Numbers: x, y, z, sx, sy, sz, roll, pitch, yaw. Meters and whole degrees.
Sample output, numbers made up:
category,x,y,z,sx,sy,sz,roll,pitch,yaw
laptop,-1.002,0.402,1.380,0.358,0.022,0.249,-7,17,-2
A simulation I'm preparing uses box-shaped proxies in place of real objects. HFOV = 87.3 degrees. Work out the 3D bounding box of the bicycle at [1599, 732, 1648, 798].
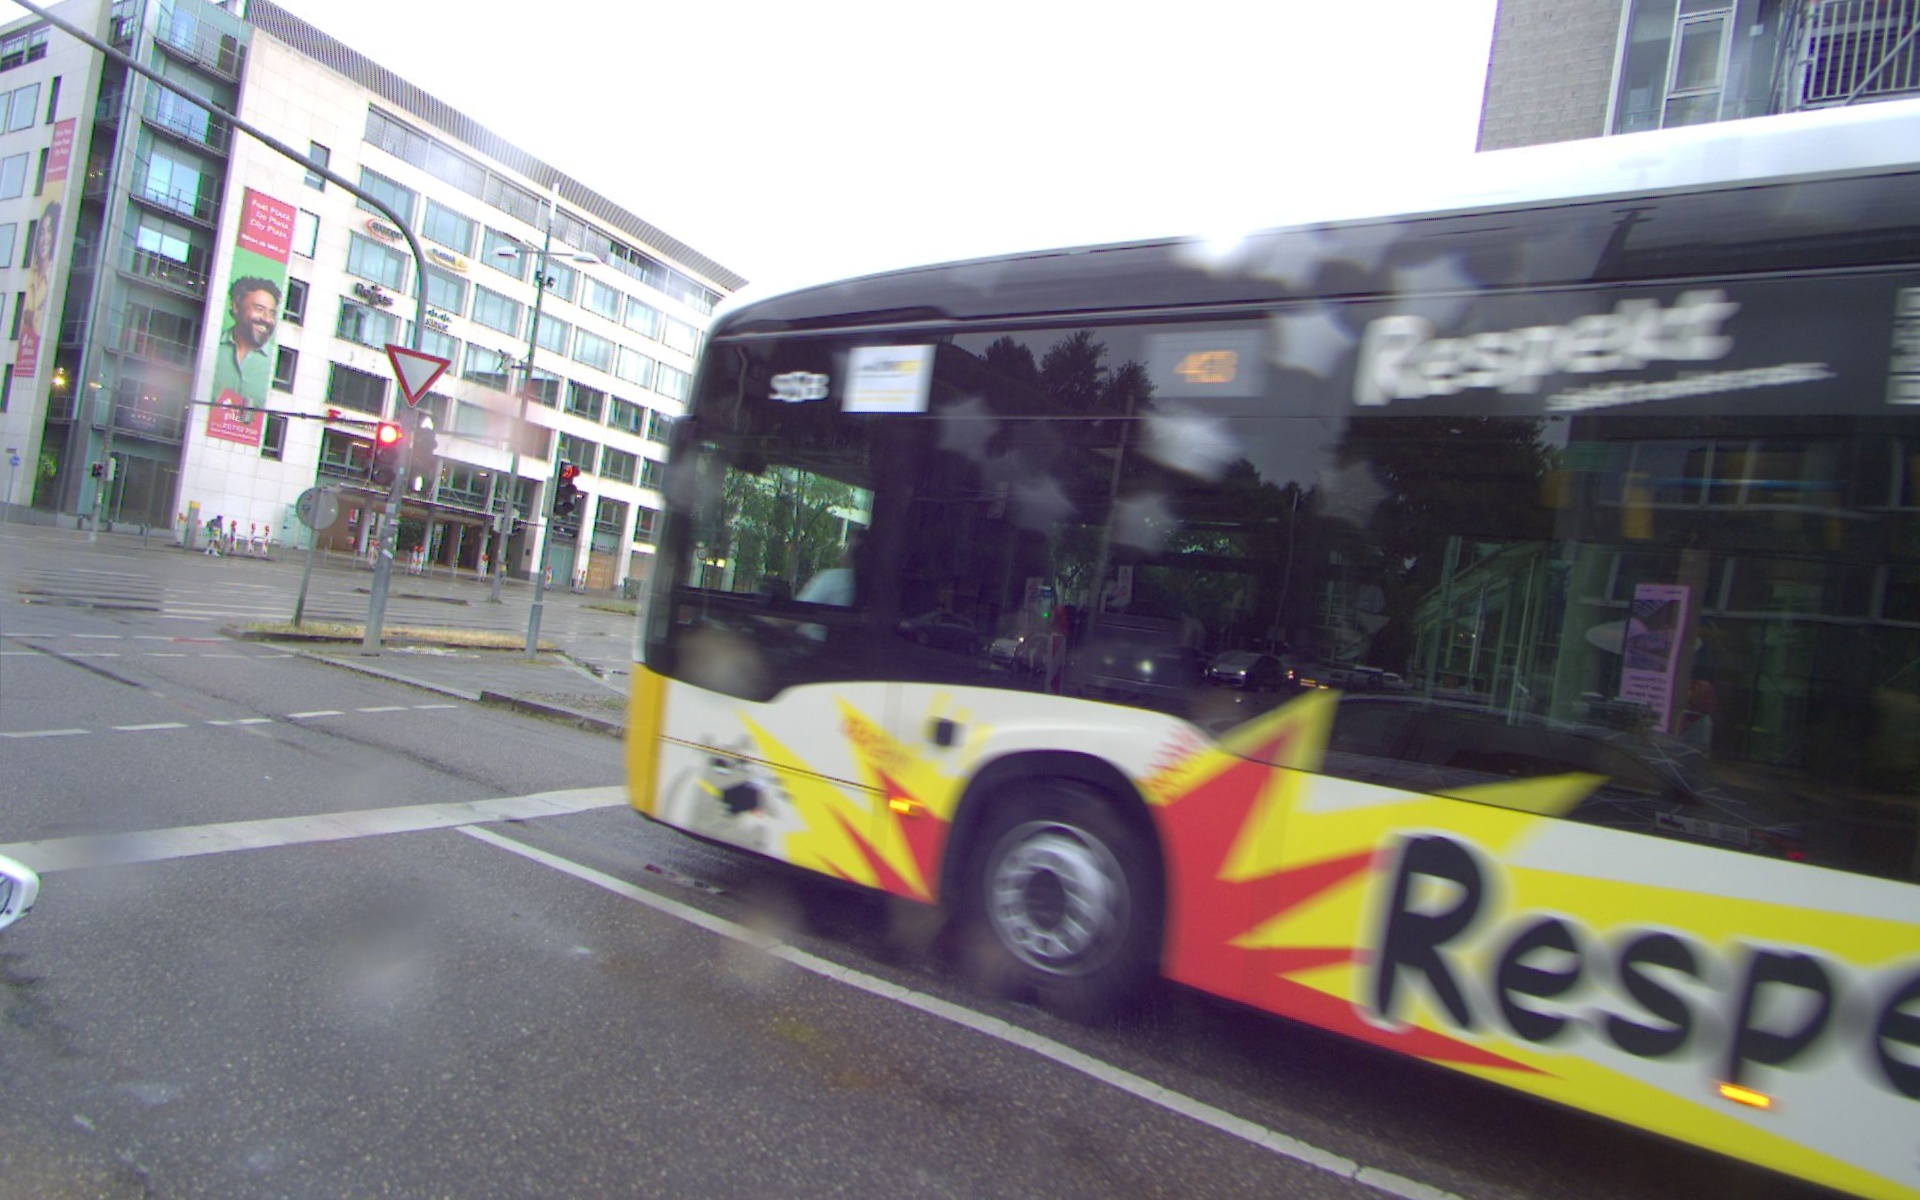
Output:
category,x,y,z,sx,sy,sz,roll,pitch,yaw
bicycle,13.867,3.415,21.054,0.576,1.208,1.614,6,-2,27

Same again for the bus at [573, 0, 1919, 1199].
category,x,y,z,sx,sy,sz,roll,pitch,yaw
bus,2.994,0.237,3.920,9.596,3.490,2.888,6,-2,32

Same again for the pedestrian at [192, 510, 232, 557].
category,x,y,z,sx,sy,sz,roll,pitch,yaw
pedestrian,-32.162,-2.853,43.265,0.822,1.838,0.963,6,-1,31
